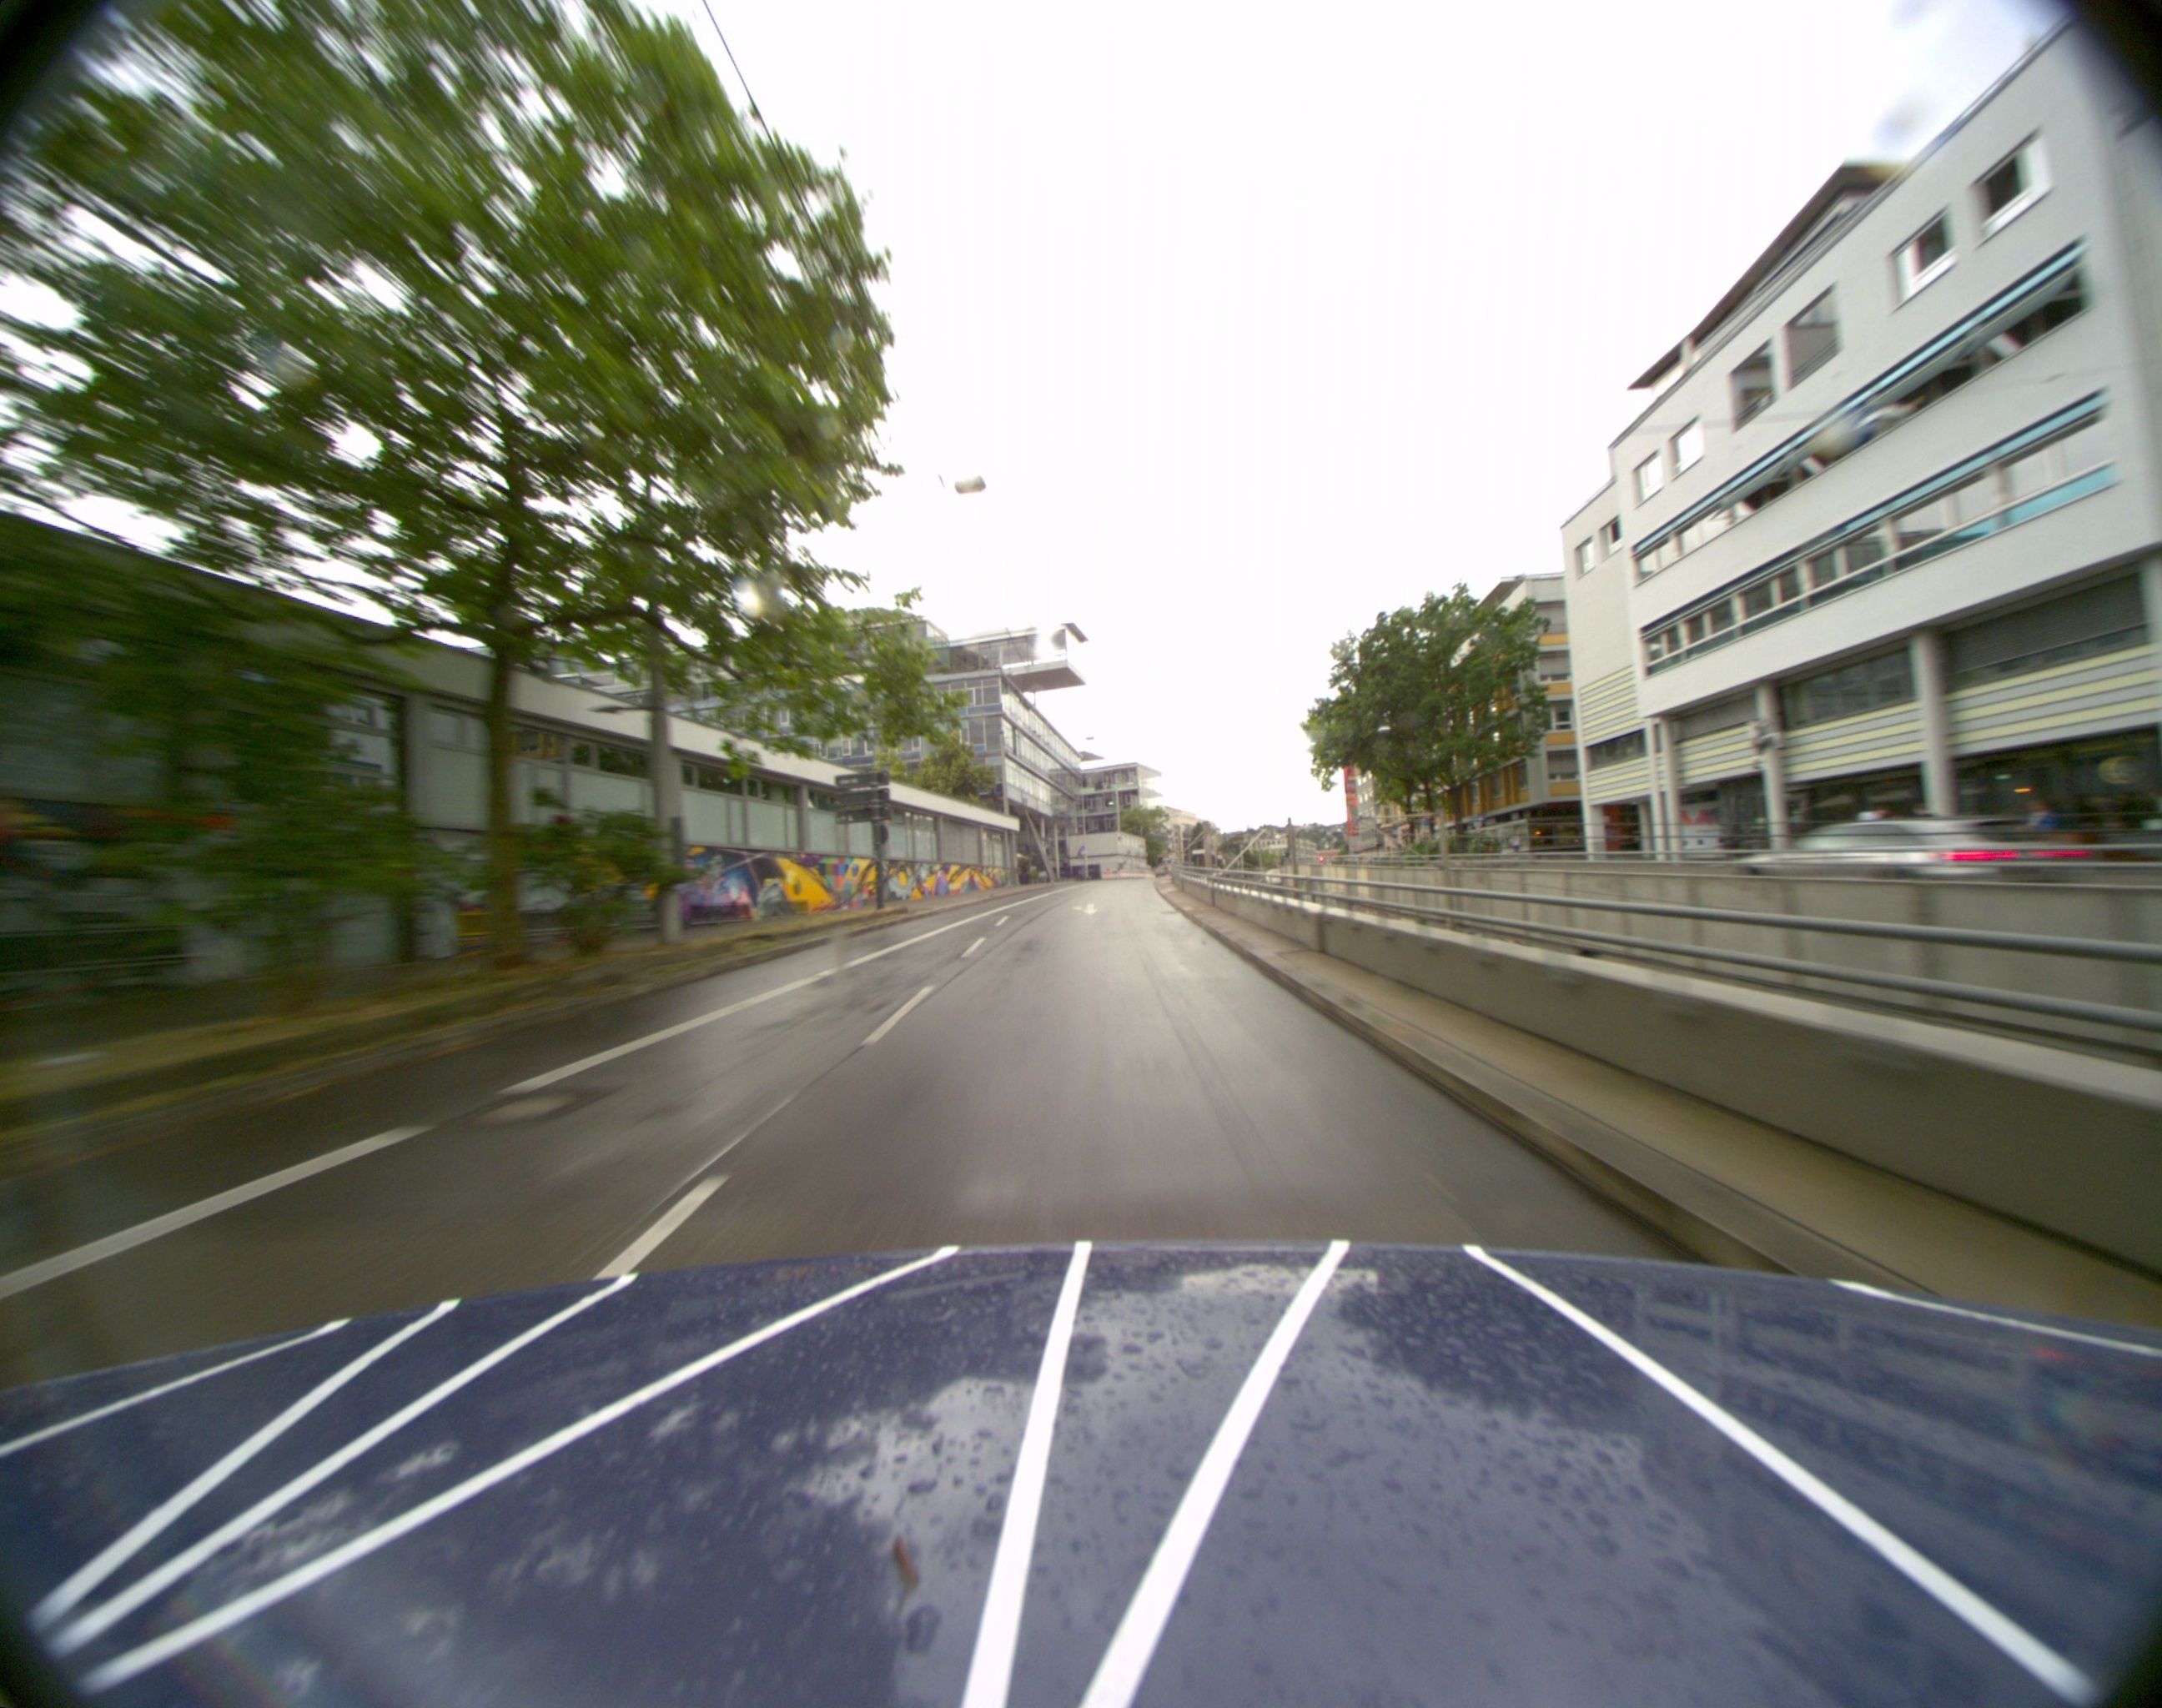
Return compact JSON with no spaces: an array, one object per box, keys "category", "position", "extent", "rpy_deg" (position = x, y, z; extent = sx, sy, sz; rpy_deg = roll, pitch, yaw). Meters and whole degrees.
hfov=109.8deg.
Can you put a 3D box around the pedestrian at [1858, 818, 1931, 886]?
[{"category":"pedestrian","position":[19.954,-0.040,18.659],"extent":[0.674,1.606,0.941],"rpy_deg":[-4,0,-15]}]

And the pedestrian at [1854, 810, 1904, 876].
[{"category":"pedestrian","position":[20.484,-0.275,19.504],"extent":[0.675,1.633,0.793],"rpy_deg":[-3,0,-44]}]

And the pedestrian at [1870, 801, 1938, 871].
[{"category":"pedestrian","position":[21.738,-0.449,20.084],"extent":[0.674,1.774,0.941],"rpy_deg":[-4,0,-15]}]

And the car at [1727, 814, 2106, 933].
[{"category":"car","position":[14.623,0.324,13.822],"extent":[1.841,1.702,4.578],"rpy_deg":[-3,-1,1]}]

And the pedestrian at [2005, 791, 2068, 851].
[{"category":"pedestrian","position":[23.636,-0.807,18.806],"extent":[0.608,1.410,0.674],"rpy_deg":[-4,0,4]}]

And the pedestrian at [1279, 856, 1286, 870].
[{"category":"pedestrian","position":[24.428,1.072,91.986],"extent":[0.633,1.649,0.684],"rpy_deg":[-5,-3,20]}]

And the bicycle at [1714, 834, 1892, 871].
[{"category":"bicycle","position":[23.176,-0.033,24.675],"extent":[1.696,1.037,4.523],"rpy_deg":[-2,0,4]}]

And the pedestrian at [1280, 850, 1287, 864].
[{"category":"pedestrian","position":[23.268,0.353,87.322],"extent":[0.678,1.639,0.897],"rpy_deg":[1,0,21]}]

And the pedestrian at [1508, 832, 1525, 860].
[{"category":"pedestrian","position":[28.353,-0.517,49.451],"extent":[0.666,1.838,0.831],"rpy_deg":[-2,0,9]}]

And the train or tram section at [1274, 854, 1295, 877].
[{"category":"train or tram section","position":[37.795,2.276,140.708],"extent":[2.782,3.667,9.733],"rpy_deg":[-5,-5,19]}]

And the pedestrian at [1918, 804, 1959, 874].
[{"category":"pedestrian","position":[21.614,-0.371,19.151],"extent":[0.675,1.711,0.608],"rpy_deg":[-3,0,-40]}]
